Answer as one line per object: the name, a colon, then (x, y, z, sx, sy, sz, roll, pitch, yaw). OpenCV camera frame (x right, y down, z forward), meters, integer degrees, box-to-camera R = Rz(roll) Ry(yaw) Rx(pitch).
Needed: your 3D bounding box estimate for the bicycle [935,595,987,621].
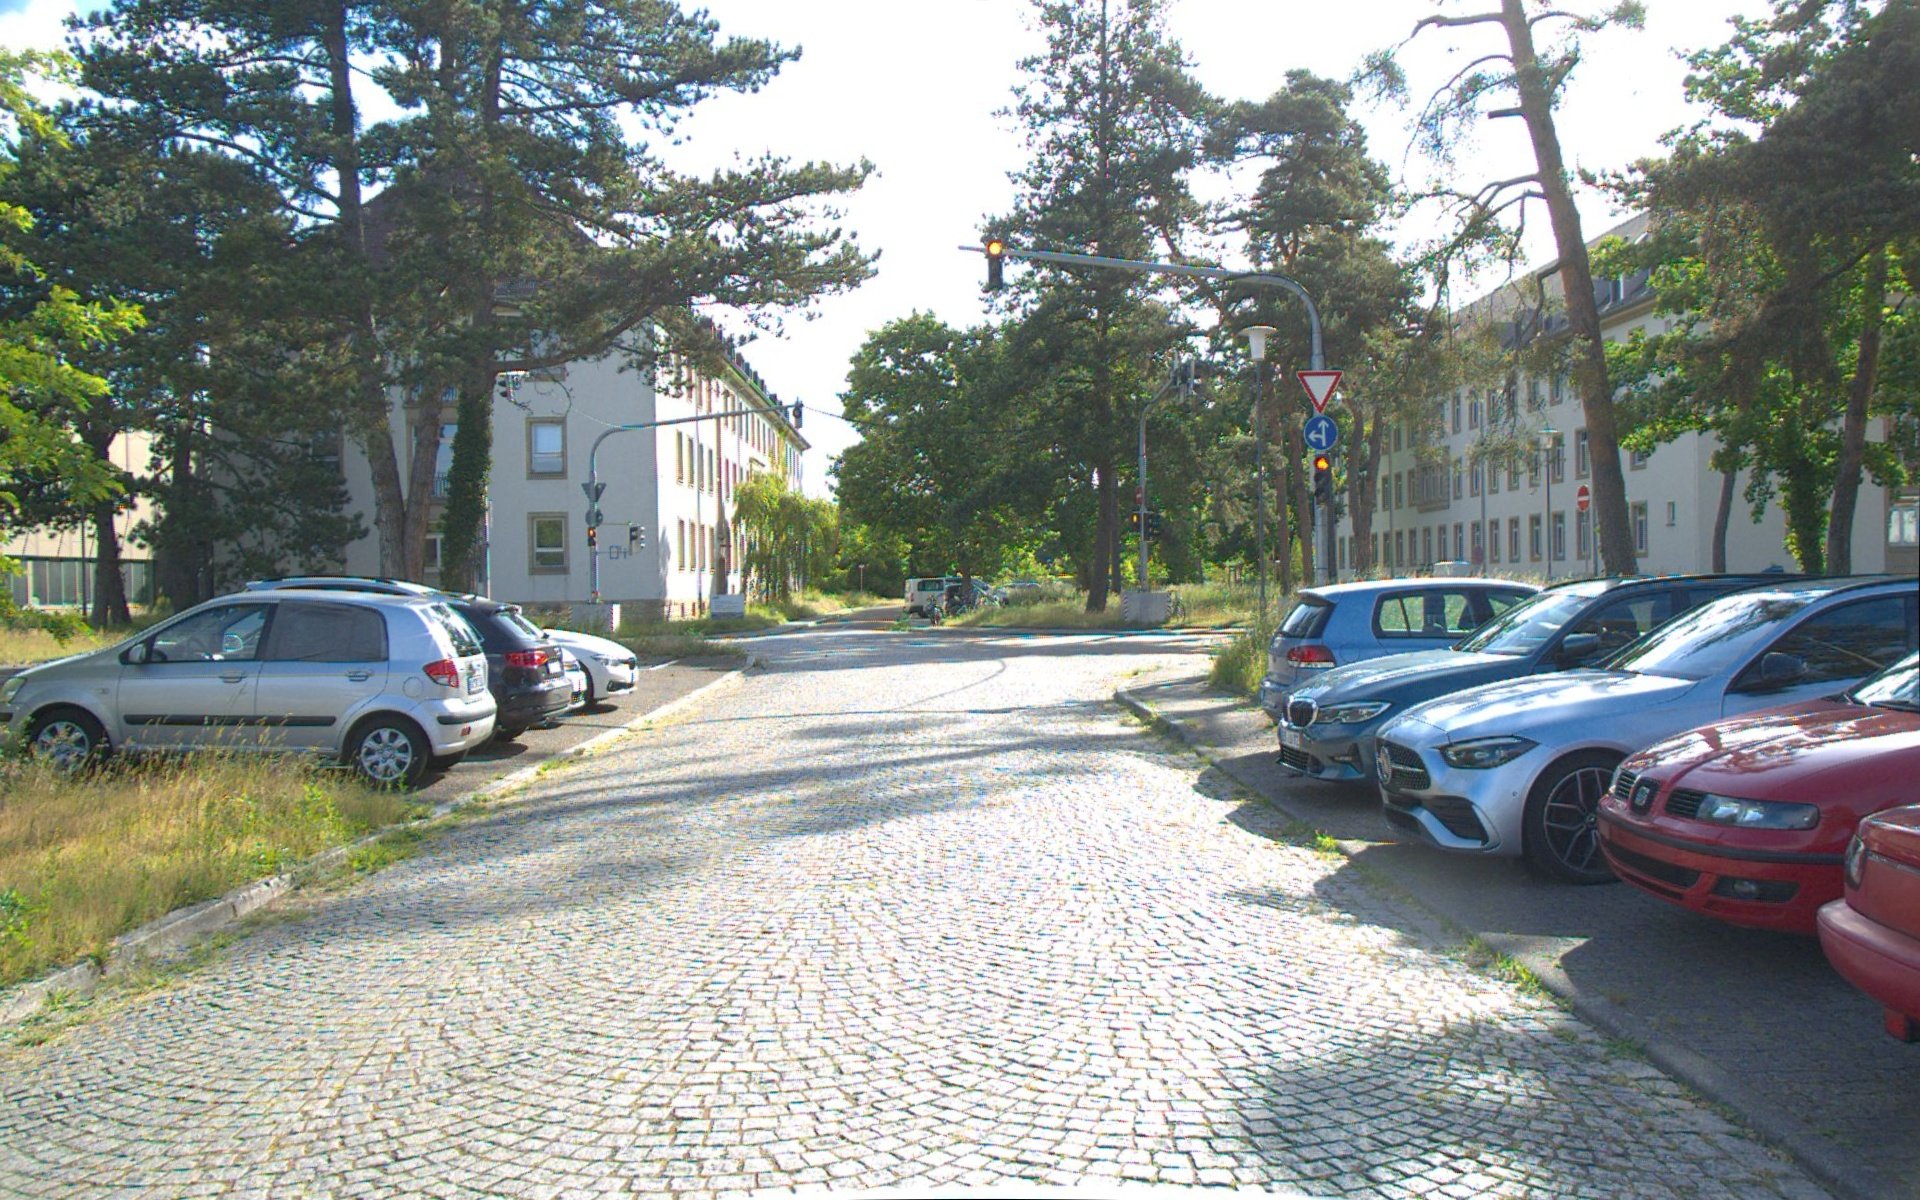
bicycle: (0.042, 0.322, 65.869, 1.990, 1.028, 0.626, 1, 0, -9)

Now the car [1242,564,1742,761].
car: (4.538, 0.499, 14.479, 3.803, 1.439, 1.636, -3, 1, 0)

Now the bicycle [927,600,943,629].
bicycle: (-0.907, 0.506, 59.670, 0.458, 1.028, 1.584, 1, 0, -4)

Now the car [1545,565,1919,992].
car: (4.754, 0.577, 6.850, 4.043, 1.474, 1.636, -3, 1, 0)

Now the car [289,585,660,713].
car: (-6.132, 0.606, 21.296, 4.248, 1.494, 1.829, 1, 1, -4)

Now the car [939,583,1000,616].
car: (0.424, -0.012, 77.755, 2.728, 1.492, 1.669, 1, 0, -5)

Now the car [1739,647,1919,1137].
car: (4.360, 0.730, 4.499, 3.632, 1.244, 1.746, -3, 1, 0)

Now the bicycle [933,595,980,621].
bicycle: (-0.145, 0.320, 66.740, 1.803, 1.028, 0.635, 1, 0, -9)

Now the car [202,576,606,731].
car: (-6.235, 0.573, 18.939, 3.999, 1.621, 1.884, 1, 1, -4)

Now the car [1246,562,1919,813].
car: (4.423, 0.558, 11.698, 4.467, 1.439, 1.636, -3, 1, 0)

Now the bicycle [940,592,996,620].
bicycle: (0.318, 0.235, 63.279, 2.070, 1.028, 0.620, 1, 0, -9)

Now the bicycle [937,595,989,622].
bicycle: (0.128, 0.323, 64.988, 1.967, 1.028, 0.631, 1, 0, -9)

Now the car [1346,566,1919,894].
car: (4.497, 0.595, 8.982, 4.342, 1.439, 1.781, -3, 1, 0)

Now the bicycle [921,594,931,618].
bicycle: (-1.487, 0.266, 72.902, 0.409, 1.028, 1.483, 1, 0, 0)

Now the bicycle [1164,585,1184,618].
bicycle: (6.624, 0.047, 51.287, 0.294, 0.977, 1.584, 1, 0, -4)

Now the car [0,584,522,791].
car: (-5.581, 0.664, 13.368, 3.672, 1.513, 1.645, 1, 1, -4)

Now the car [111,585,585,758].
car: (-5.769, 0.650, 15.986, 3.908, 1.506, 1.802, 1, 1, -4)

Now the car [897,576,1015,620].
car: (-0.190, -0.073, 81.271, 5.438, 2.049, 1.989, 1, 0, -19)
